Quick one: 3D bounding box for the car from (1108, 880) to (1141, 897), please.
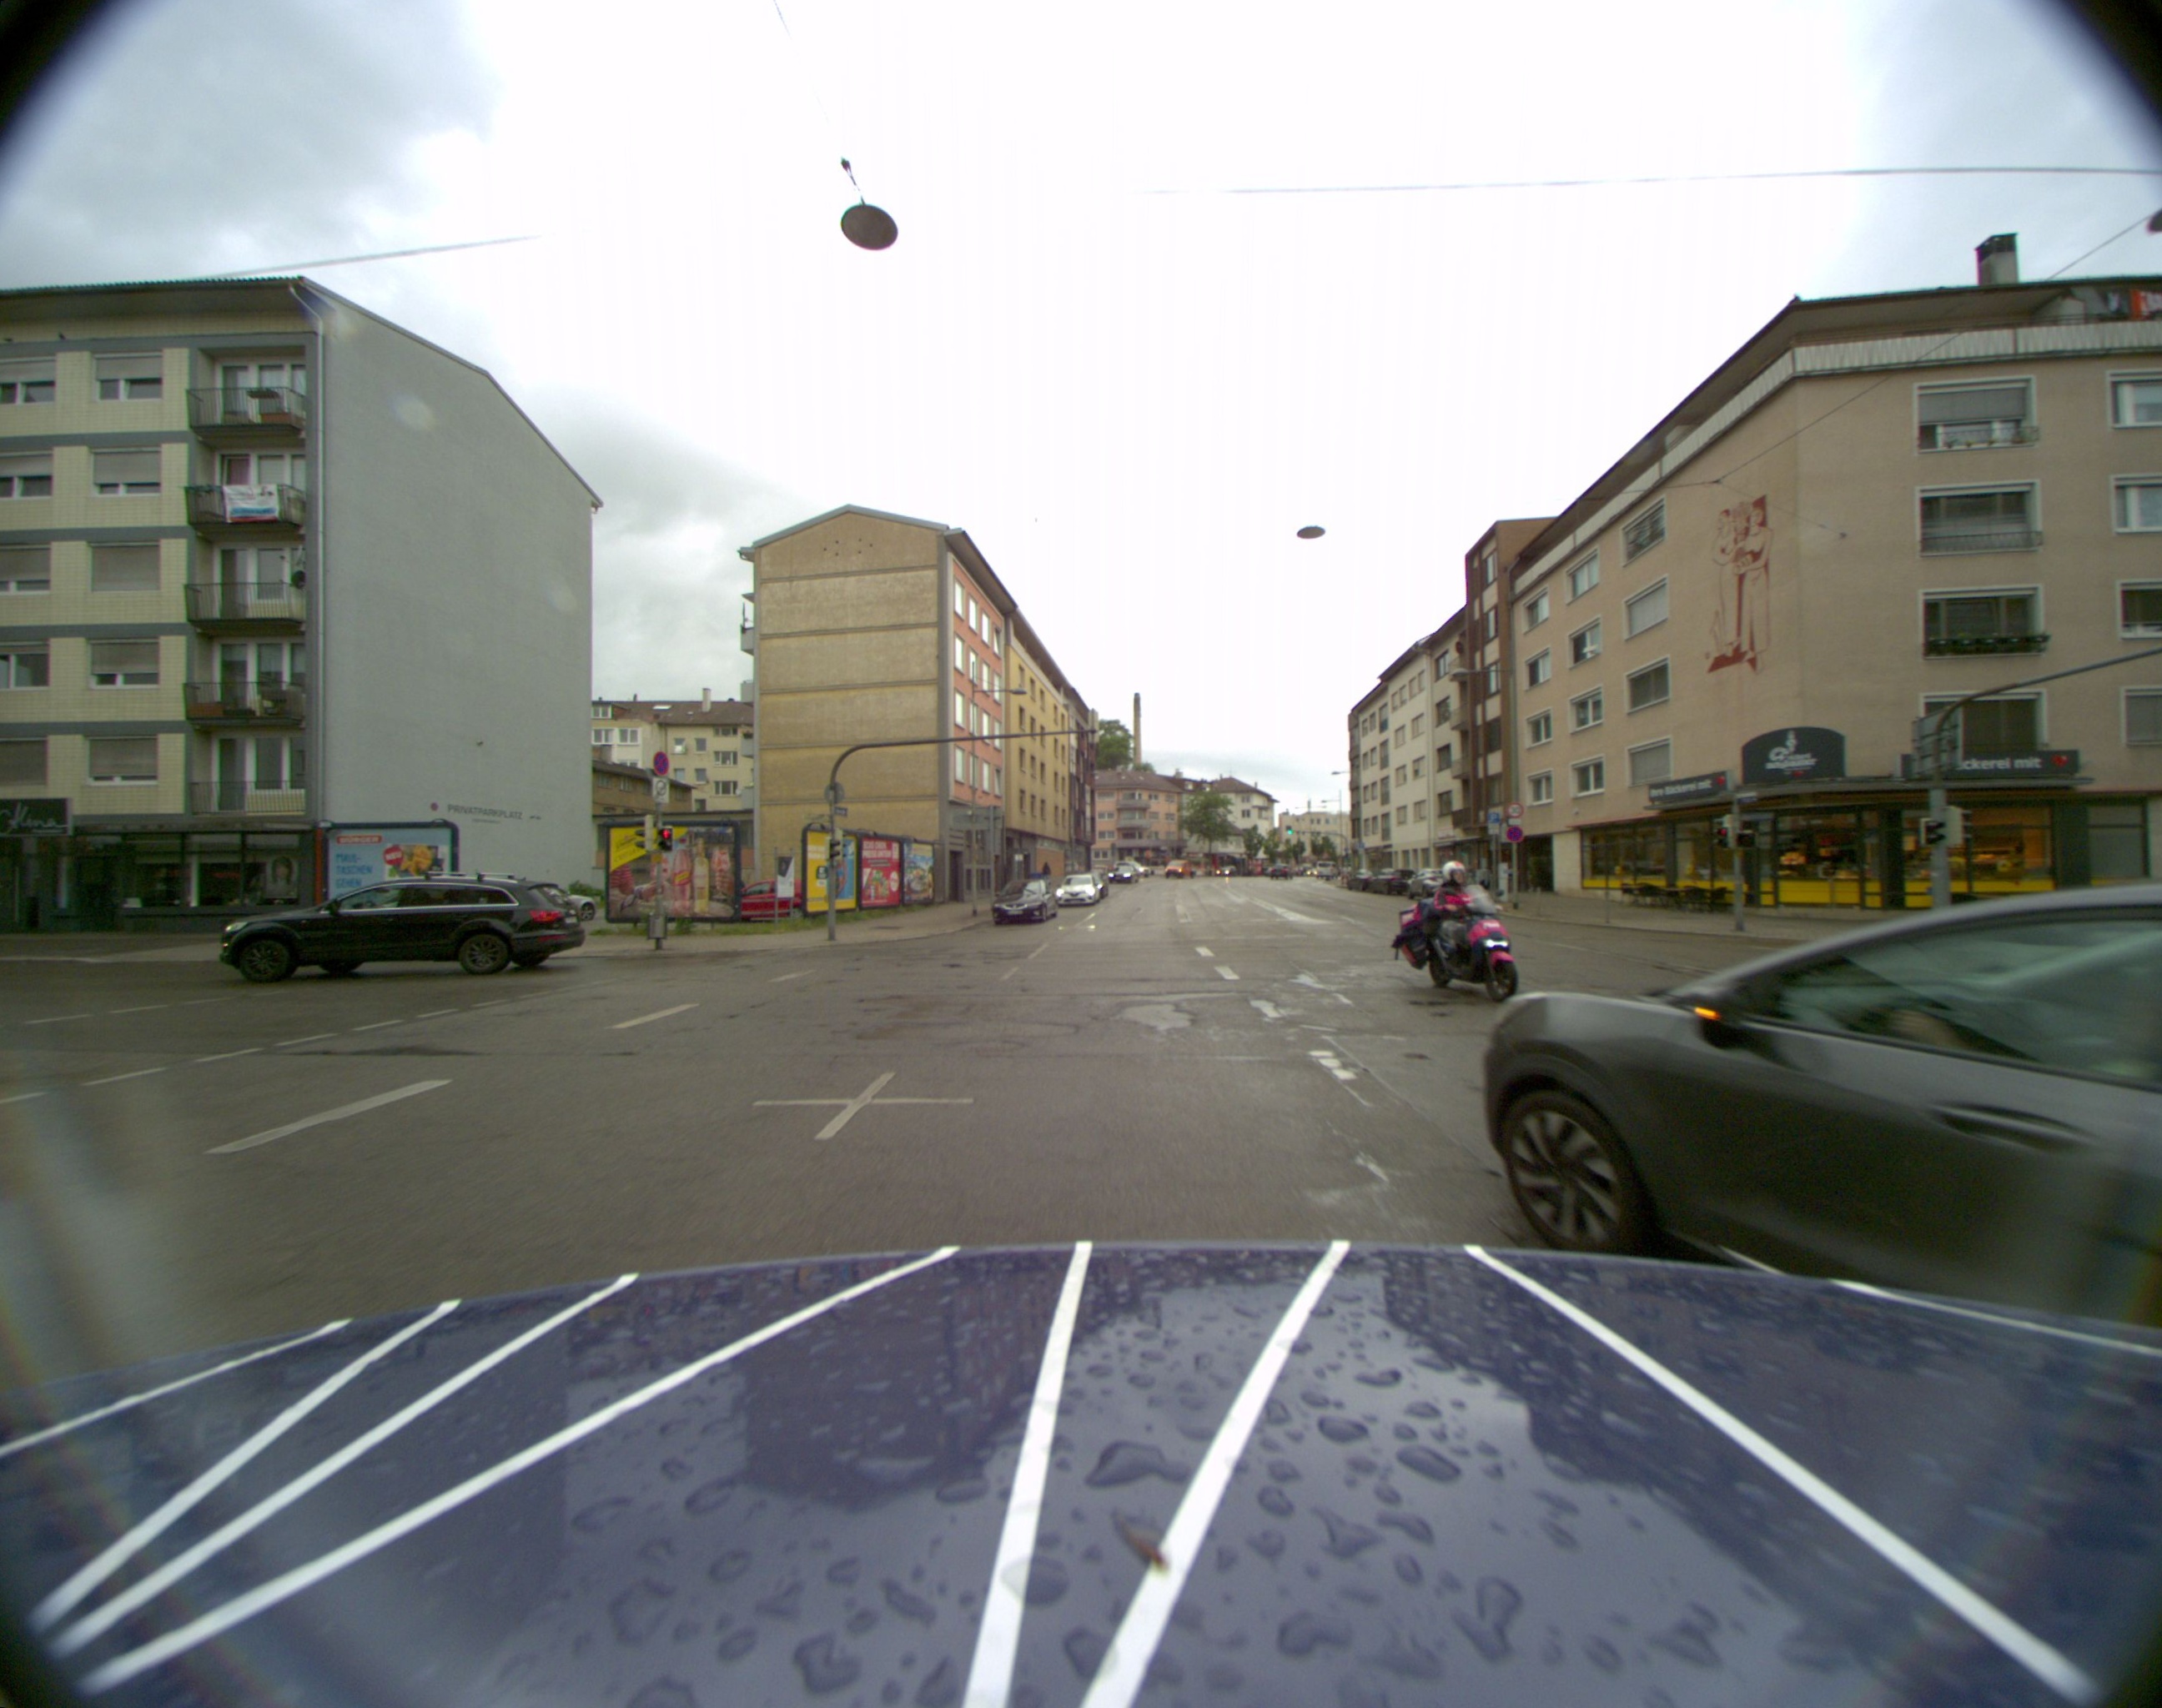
[{"bbox_3d":[3.692,2.877,63.738,1.809,1.331,4.284,0,-1,17],"label":"car"}]

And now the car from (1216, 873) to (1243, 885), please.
[{"bbox_3d":[18.991,3.186,97.321,1.840,1.433,4.009,-4,-3,35],"label":"car"}]

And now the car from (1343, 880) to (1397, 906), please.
[{"bbox_3d":[18.432,2.453,48.734,1.886,1.468,4.982,0,-1,4],"label":"car"}]

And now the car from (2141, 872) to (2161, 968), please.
[{"bbox_3d":[26.157,1.435,15.929,4.863,2.091,2.046,-1,1,2],"label":"car"}]

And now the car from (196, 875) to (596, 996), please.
[{"bbox_3d":[-11.821,1.340,13.598,4.902,1.858,2.026,0,-2,-16],"label":"car"}]

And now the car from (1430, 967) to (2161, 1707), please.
[{"bbox_3d":[2.930,1.315,1.745,1.862,1.543,4.224,0,-1,-8],"label":"car"}]

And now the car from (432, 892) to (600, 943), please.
[{"bbox_3d":[-17.954,1.964,24.443,1.878,1.431,4.335,-1,-2,6],"label":"car"}]

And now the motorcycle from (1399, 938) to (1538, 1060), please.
[{"bbox_3d":[4.837,1.756,9.675,0.588,1.184,2.102,-2,-1,-2],"label":"motorcycle"}]

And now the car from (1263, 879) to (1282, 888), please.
[{"bbox_3d":[29.255,4.500,115.889,1.810,1.334,4.008,-4,-2,28],"label":"car"}]

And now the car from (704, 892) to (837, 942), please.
[{"bbox_3d":[-10.507,2.124,25.938,3.662,1.542,2.089,-1,-2,0],"label":"car"}]

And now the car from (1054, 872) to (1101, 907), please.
[{"bbox_3d":[-0.099,1.633,35.830,1.680,1.395,4.002,-2,0,7],"label":"car"}]

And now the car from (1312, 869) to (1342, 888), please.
[{"bbox_3d":[29.433,2.907,90.837,2.120,2.002,5.138,-4,-1,31],"label":"car"}]

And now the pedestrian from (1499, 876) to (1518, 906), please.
[{"bbox_3d":[22.695,1.959,40.324,0.544,1.573,0.669,-1,-1,-7],"label":"pedestrian"}]

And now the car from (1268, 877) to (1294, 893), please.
[{"bbox_3d":[21.795,3.385,82.818,1.863,1.637,4.262,0,-1,27],"label":"car"}]

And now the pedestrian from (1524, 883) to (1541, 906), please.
[{"bbox_3d":[22.758,2.038,38.335,0.673,1.141,0.596,-2,-1,34],"label":"pedestrian"}]

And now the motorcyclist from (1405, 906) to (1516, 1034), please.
[{"bbox_3d":[4.827,1.445,9.725,0.917,1.484,0.864,-2,-1,-3],"label":"motorcyclist"}]

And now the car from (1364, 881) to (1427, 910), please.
[{"bbox_3d":[17.839,2.329,43.361,1.998,1.468,4.521,0,-1,4],"label":"car"}]

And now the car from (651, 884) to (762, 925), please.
[{"bbox_3d":[-17.679,2.375,35.864,4.768,1.678,2.160,-4,-2,25],"label":"car"}]

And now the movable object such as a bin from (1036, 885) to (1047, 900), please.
[{"bbox_3d":[-2.887,2.788,54.981,0.682,1.070,0.669,-1,-1,7],"label":"movable object such as a bin"}]

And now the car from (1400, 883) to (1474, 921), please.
[{"bbox_3d":[16.452,2.174,35.384,1.911,1.545,4.634,0,-1,9],"label":"car"}]

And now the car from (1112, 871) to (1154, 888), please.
[{"bbox_3d":[5.866,2.841,85.872,2.004,1.710,4.785,2,-1,-38],"label":"car"}]

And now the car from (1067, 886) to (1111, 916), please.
[{"bbox_3d":[0.555,2.640,43.662,2.039,1.379,5.296,0,0,6],"label":"car"}]

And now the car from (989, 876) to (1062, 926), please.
[{"bbox_3d":[-1.887,1.602,27.016,1.787,1.488,4.059,-3,-1,6],"label":"car"}]

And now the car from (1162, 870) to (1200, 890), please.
[{"bbox_3d":[11.028,2.806,83.363,2.194,2.073,5.945,-2,-2,28],"label":"car"}]

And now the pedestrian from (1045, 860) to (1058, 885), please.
[{"bbox_3d":[-2.131,1.331,54.749,0.674,1.776,1.096,-2,-1,10],"label":"pedestrian"}]
